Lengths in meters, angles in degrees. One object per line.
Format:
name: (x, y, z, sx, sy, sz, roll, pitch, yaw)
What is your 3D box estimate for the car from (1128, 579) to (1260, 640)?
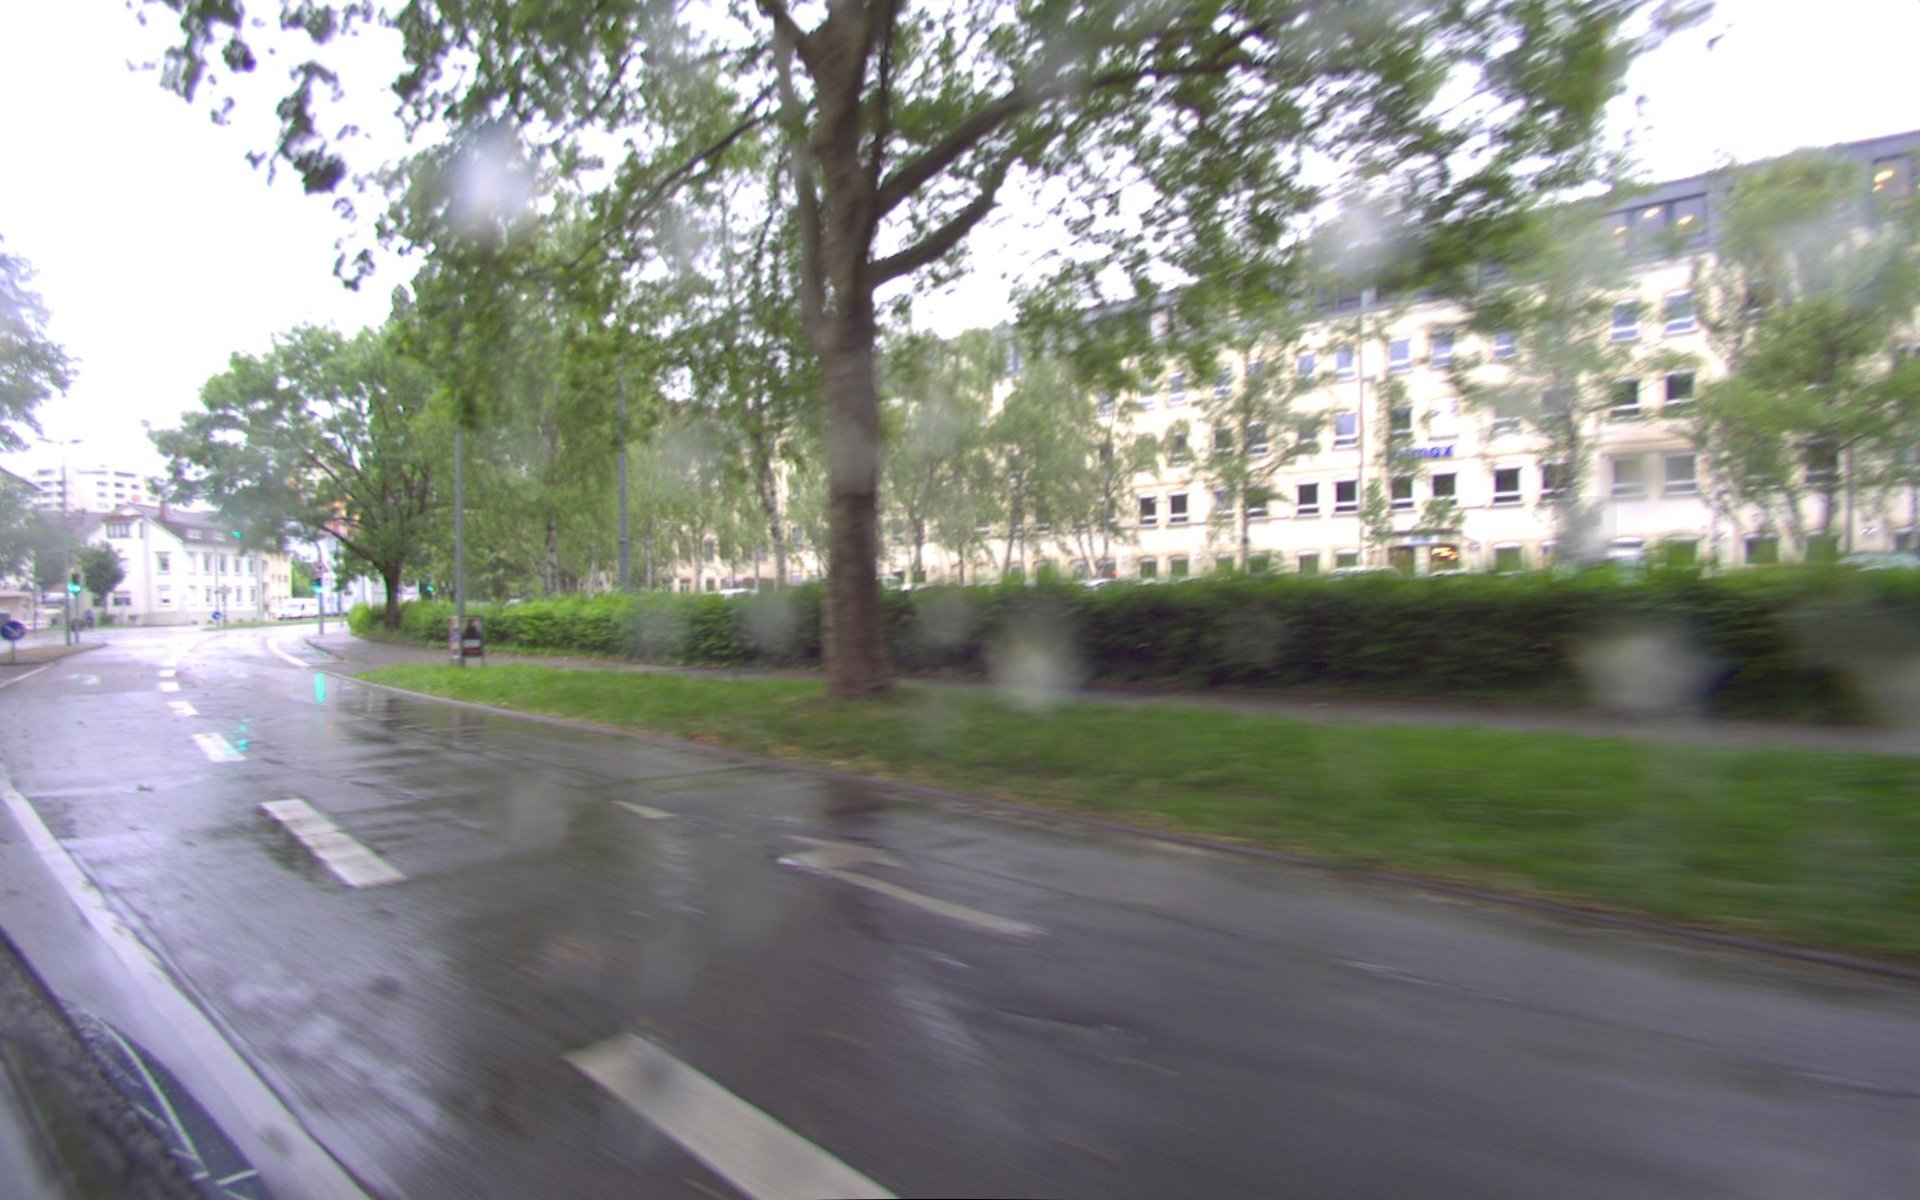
car: (6.645, 0.228, 28.564, 1.886, 1.562, 3.943, -1, 1, 43)

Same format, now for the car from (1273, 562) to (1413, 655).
car: (9.735, 0.221, 25.561, 1.999, 2.149, 3.944, -2, -1, 42)

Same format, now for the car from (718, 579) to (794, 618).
car: (-18.042, -0.133, 89.872, 2.835, 3.217, 6.137, -2, 0, 38)

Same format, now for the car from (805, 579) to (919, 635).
car: (-3.435, 0.220, 36.159, 1.851, 1.847, 3.950, -2, 0, 37)

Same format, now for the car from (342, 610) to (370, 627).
car: (-55.273, 1.644, 92.706, 1.523, 1.407, 4.208, -3, 1, -22)

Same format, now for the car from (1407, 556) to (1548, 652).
car: (12.120, 0.102, 23.582, 1.999, 2.029, 3.945, -2, -1, 41)

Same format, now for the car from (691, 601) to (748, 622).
car: (-18.729, 0.924, 78.855, 4.528, 1.511, 1.974, -2, 0, 40)

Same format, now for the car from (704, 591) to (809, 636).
car: (-8.381, 0.539, 41.921, 1.997, 1.650, 3.950, -2, 0, 37)

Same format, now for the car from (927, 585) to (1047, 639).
car: (0.953, 0.360, 33.580, 1.853, 1.611, 3.946, -2, 1, 41)

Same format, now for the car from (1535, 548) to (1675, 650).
car: (14.319, -0.004, 22.388, 1.999, 2.029, 3.945, -2, -1, 41)

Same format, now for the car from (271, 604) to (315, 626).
car: (-72.600, 1.569, 110.204, 2.160, 2.272, 4.894, -2, 0, -9)
